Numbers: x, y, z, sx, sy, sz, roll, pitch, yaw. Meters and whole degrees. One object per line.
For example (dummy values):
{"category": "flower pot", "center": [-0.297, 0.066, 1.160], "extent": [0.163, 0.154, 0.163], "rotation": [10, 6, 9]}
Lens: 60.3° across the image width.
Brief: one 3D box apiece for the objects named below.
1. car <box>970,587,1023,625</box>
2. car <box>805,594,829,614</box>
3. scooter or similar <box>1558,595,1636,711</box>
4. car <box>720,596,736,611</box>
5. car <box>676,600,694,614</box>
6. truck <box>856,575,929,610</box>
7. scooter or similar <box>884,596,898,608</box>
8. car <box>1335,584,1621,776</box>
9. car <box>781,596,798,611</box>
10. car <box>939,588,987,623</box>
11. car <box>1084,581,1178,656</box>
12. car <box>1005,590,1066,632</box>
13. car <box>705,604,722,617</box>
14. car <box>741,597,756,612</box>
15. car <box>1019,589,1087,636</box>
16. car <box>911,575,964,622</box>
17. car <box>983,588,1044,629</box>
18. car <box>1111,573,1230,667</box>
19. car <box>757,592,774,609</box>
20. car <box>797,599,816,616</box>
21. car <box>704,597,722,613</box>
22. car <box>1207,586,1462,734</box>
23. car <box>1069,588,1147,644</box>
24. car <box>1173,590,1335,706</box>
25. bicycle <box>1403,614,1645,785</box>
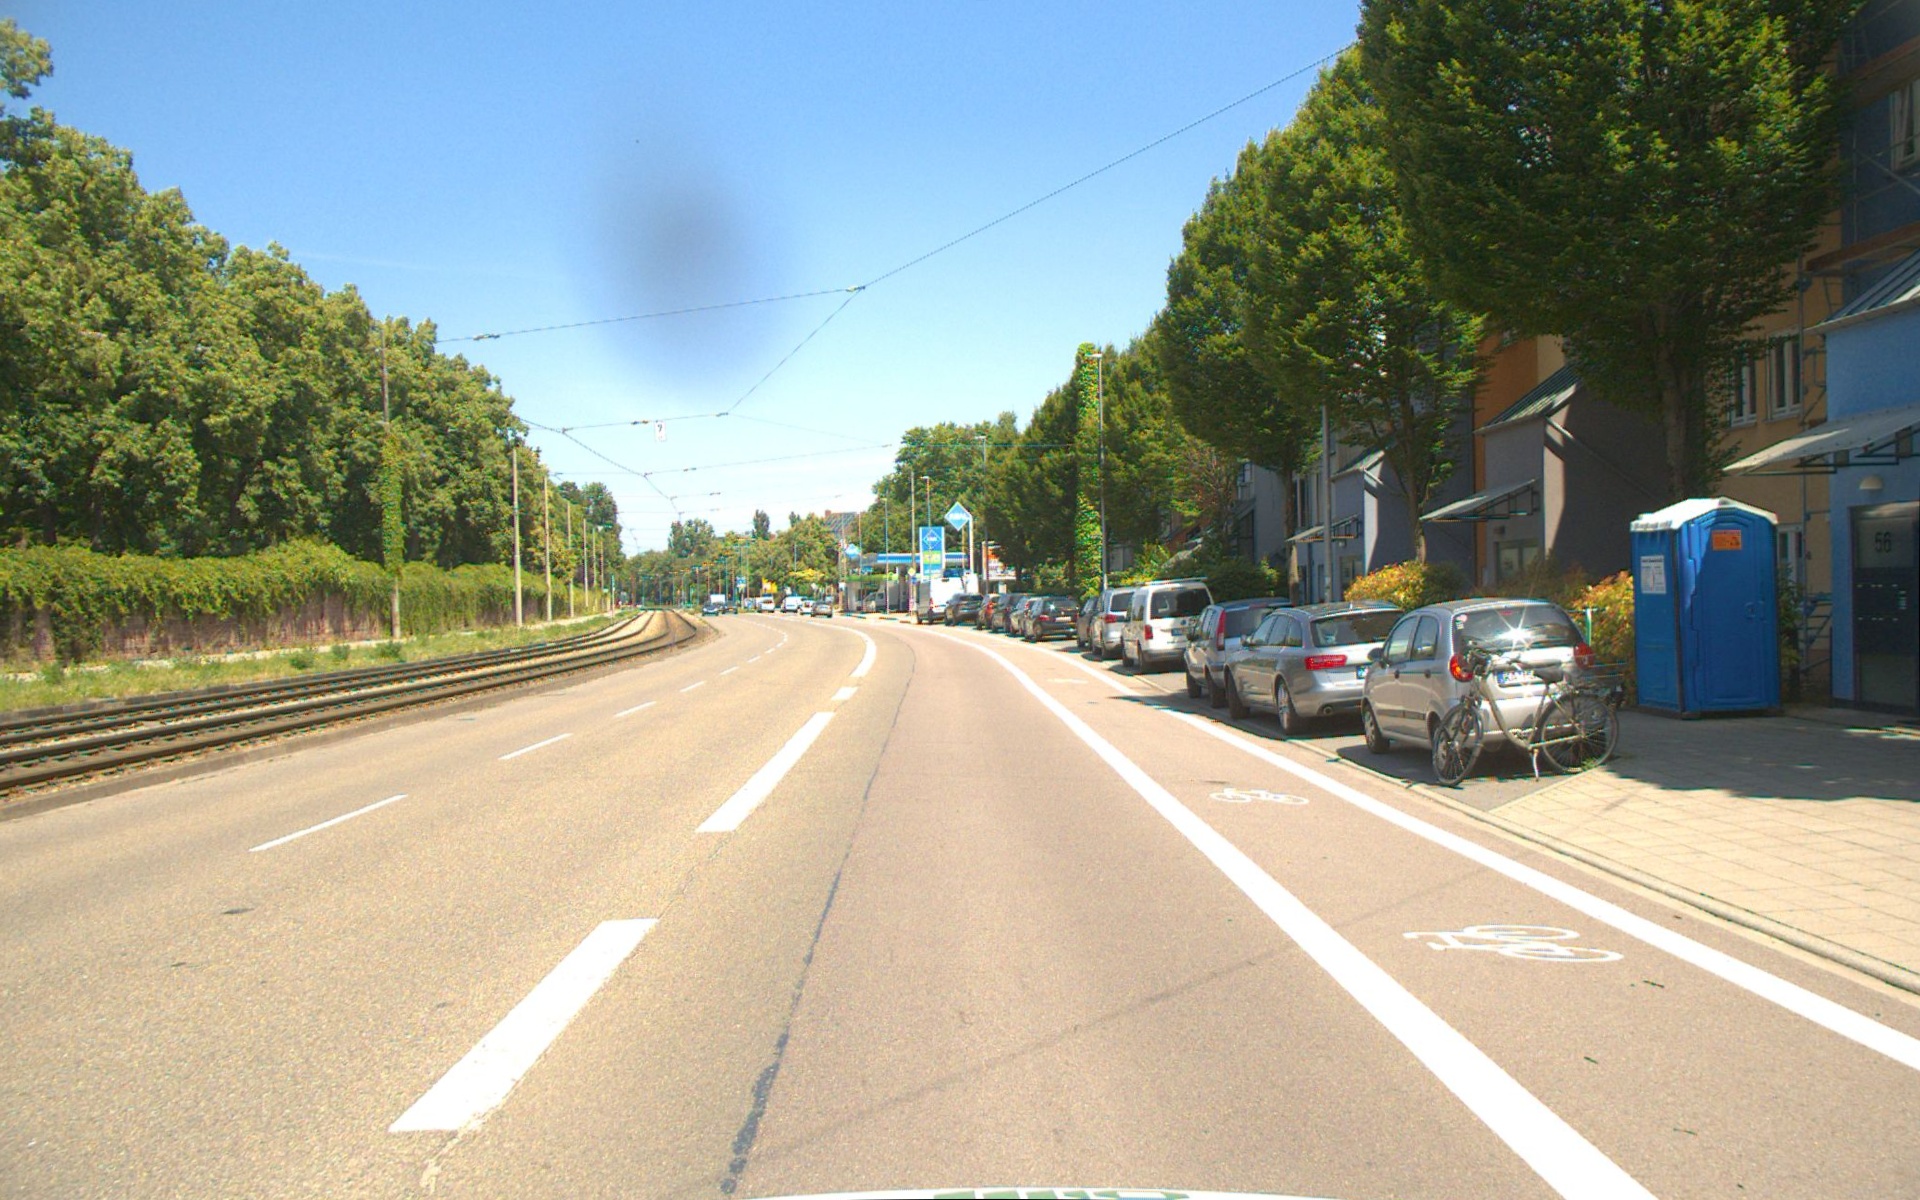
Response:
{"category": "car", "center": [1.649, 0.276, 76.222], "extent": [1.675, 1.589, 4.315], "rotation": [-3, 1, -8]}
{"category": "car", "center": [-12.895, 0.355, 149.083], "extent": [1.724, 1.658, 4.314], "rotation": [-3, 1, -10]}
{"category": "scooter or similar", "center": [7.437, 0.598, 19.342], "extent": [0.376, 1.302, 1.338], "rotation": [0, 0, -1]}
{"category": "car", "center": [-27.556, 0.401, 196.578], "extent": [1.724, 1.658, 4.314], "rotation": [-3, 1, -10]}
{"category": "car", "center": [-35.754, 0.942, 214.941], "extent": [1.727, 1.658, 4.306], "rotation": [-3, 1, -15]}
{"category": "truck", "center": [-7.382, -0.844, 180.120], "extent": [7.810, 3.665, 2.661], "rotation": [-1, 0, -4]}
{"category": "scooter or similar", "center": [-7.687, 0.192, 184.111], "extent": [1.525, 1.351, 0.535], "rotation": [-1, 0, -11]}
{"category": "car", "center": [4.901, 0.670, 16.158], "extent": [1.488, 1.556, 3.816], "rotation": [-3, 1, -1]}
{"category": "car", "center": [-21.192, 0.431, 205.536], "extent": [1.724, 1.658, 4.314], "rotation": [-3, 1, -10]}
{"category": "car", "center": [0.146, 0.295, 86.171], "extent": [1.724, 1.658, 4.314], "rotation": [-3, 1, -10]}
{"category": "car", "center": [4.304, 0.422, 42.318], "extent": [1.803, 1.723, 4.778], "rotation": [-3, 1, 0]}
{"category": "car", "center": [2.904, 0.402, 64.796], "extent": [1.674, 1.518, 4.726], "rotation": [-3, 1, -5]}
{"category": "car", "center": [-33.136, 1.394, 221.864], "extent": [1.727, 1.658, 4.306], "rotation": [-3, 1, -15]}
{"category": "car", "center": [-25.704, 0.505, 201.079], "extent": [1.723, 1.658, 4.316], "rotation": [-3, 1, -8]}
{"category": "car", "center": [3.266, 0.410, 59.156], "extent": [1.674, 1.518, 5.033], "rotation": [-3, 1, -5]}
{"category": "car", "center": [-1.352, -0.091, 96.260], "extent": [1.965, 2.499, 6.093], "rotation": [-3, 1, -11]}
{"category": "car", "center": [2.250, 0.363, 70.318], "extent": [1.676, 1.589, 4.313], "rotation": [-3, 1, -10]}
{"category": "car", "center": [4.532, 0.396, 36.138], "extent": [1.804, 1.825, 4.352], "rotation": [-3, 1, -2]}
{"category": "car", "center": [-23.750, 0.027, 201.910], "extent": [1.724, 1.907, 4.314], "rotation": [-3, 1, -10]}
{"category": "car", "center": [-16.565, 0.803, 178.287], "extent": [1.723, 1.658, 4.316], "rotation": [-3, 1, -8]}
{"category": "car", "center": [-26.412, 0.543, 177.051], "extent": [1.724, 1.535, 4.314], "rotation": [-3, 1, -10]}
{"category": "car", "center": [4.609, 0.655, 21.161], "extent": [1.804, 1.556, 4.962], "rotation": [-3, 1, -3]}
{"category": "car", "center": [4.218, 0.436, 47.683], "extent": [1.552, 1.448, 4.177], "rotation": [-3, 1, -3]}
{"category": "car", "center": [4.551, 0.683, 26.197], "extent": [1.803, 1.556, 4.216], "rotation": [-3, 1, 1]}
{"category": "bicycle", "center": [4.787, 0.836, 14.117], "extent": [1.737, 1.249, 0.684], "rotation": [-6, 0, 3]}
